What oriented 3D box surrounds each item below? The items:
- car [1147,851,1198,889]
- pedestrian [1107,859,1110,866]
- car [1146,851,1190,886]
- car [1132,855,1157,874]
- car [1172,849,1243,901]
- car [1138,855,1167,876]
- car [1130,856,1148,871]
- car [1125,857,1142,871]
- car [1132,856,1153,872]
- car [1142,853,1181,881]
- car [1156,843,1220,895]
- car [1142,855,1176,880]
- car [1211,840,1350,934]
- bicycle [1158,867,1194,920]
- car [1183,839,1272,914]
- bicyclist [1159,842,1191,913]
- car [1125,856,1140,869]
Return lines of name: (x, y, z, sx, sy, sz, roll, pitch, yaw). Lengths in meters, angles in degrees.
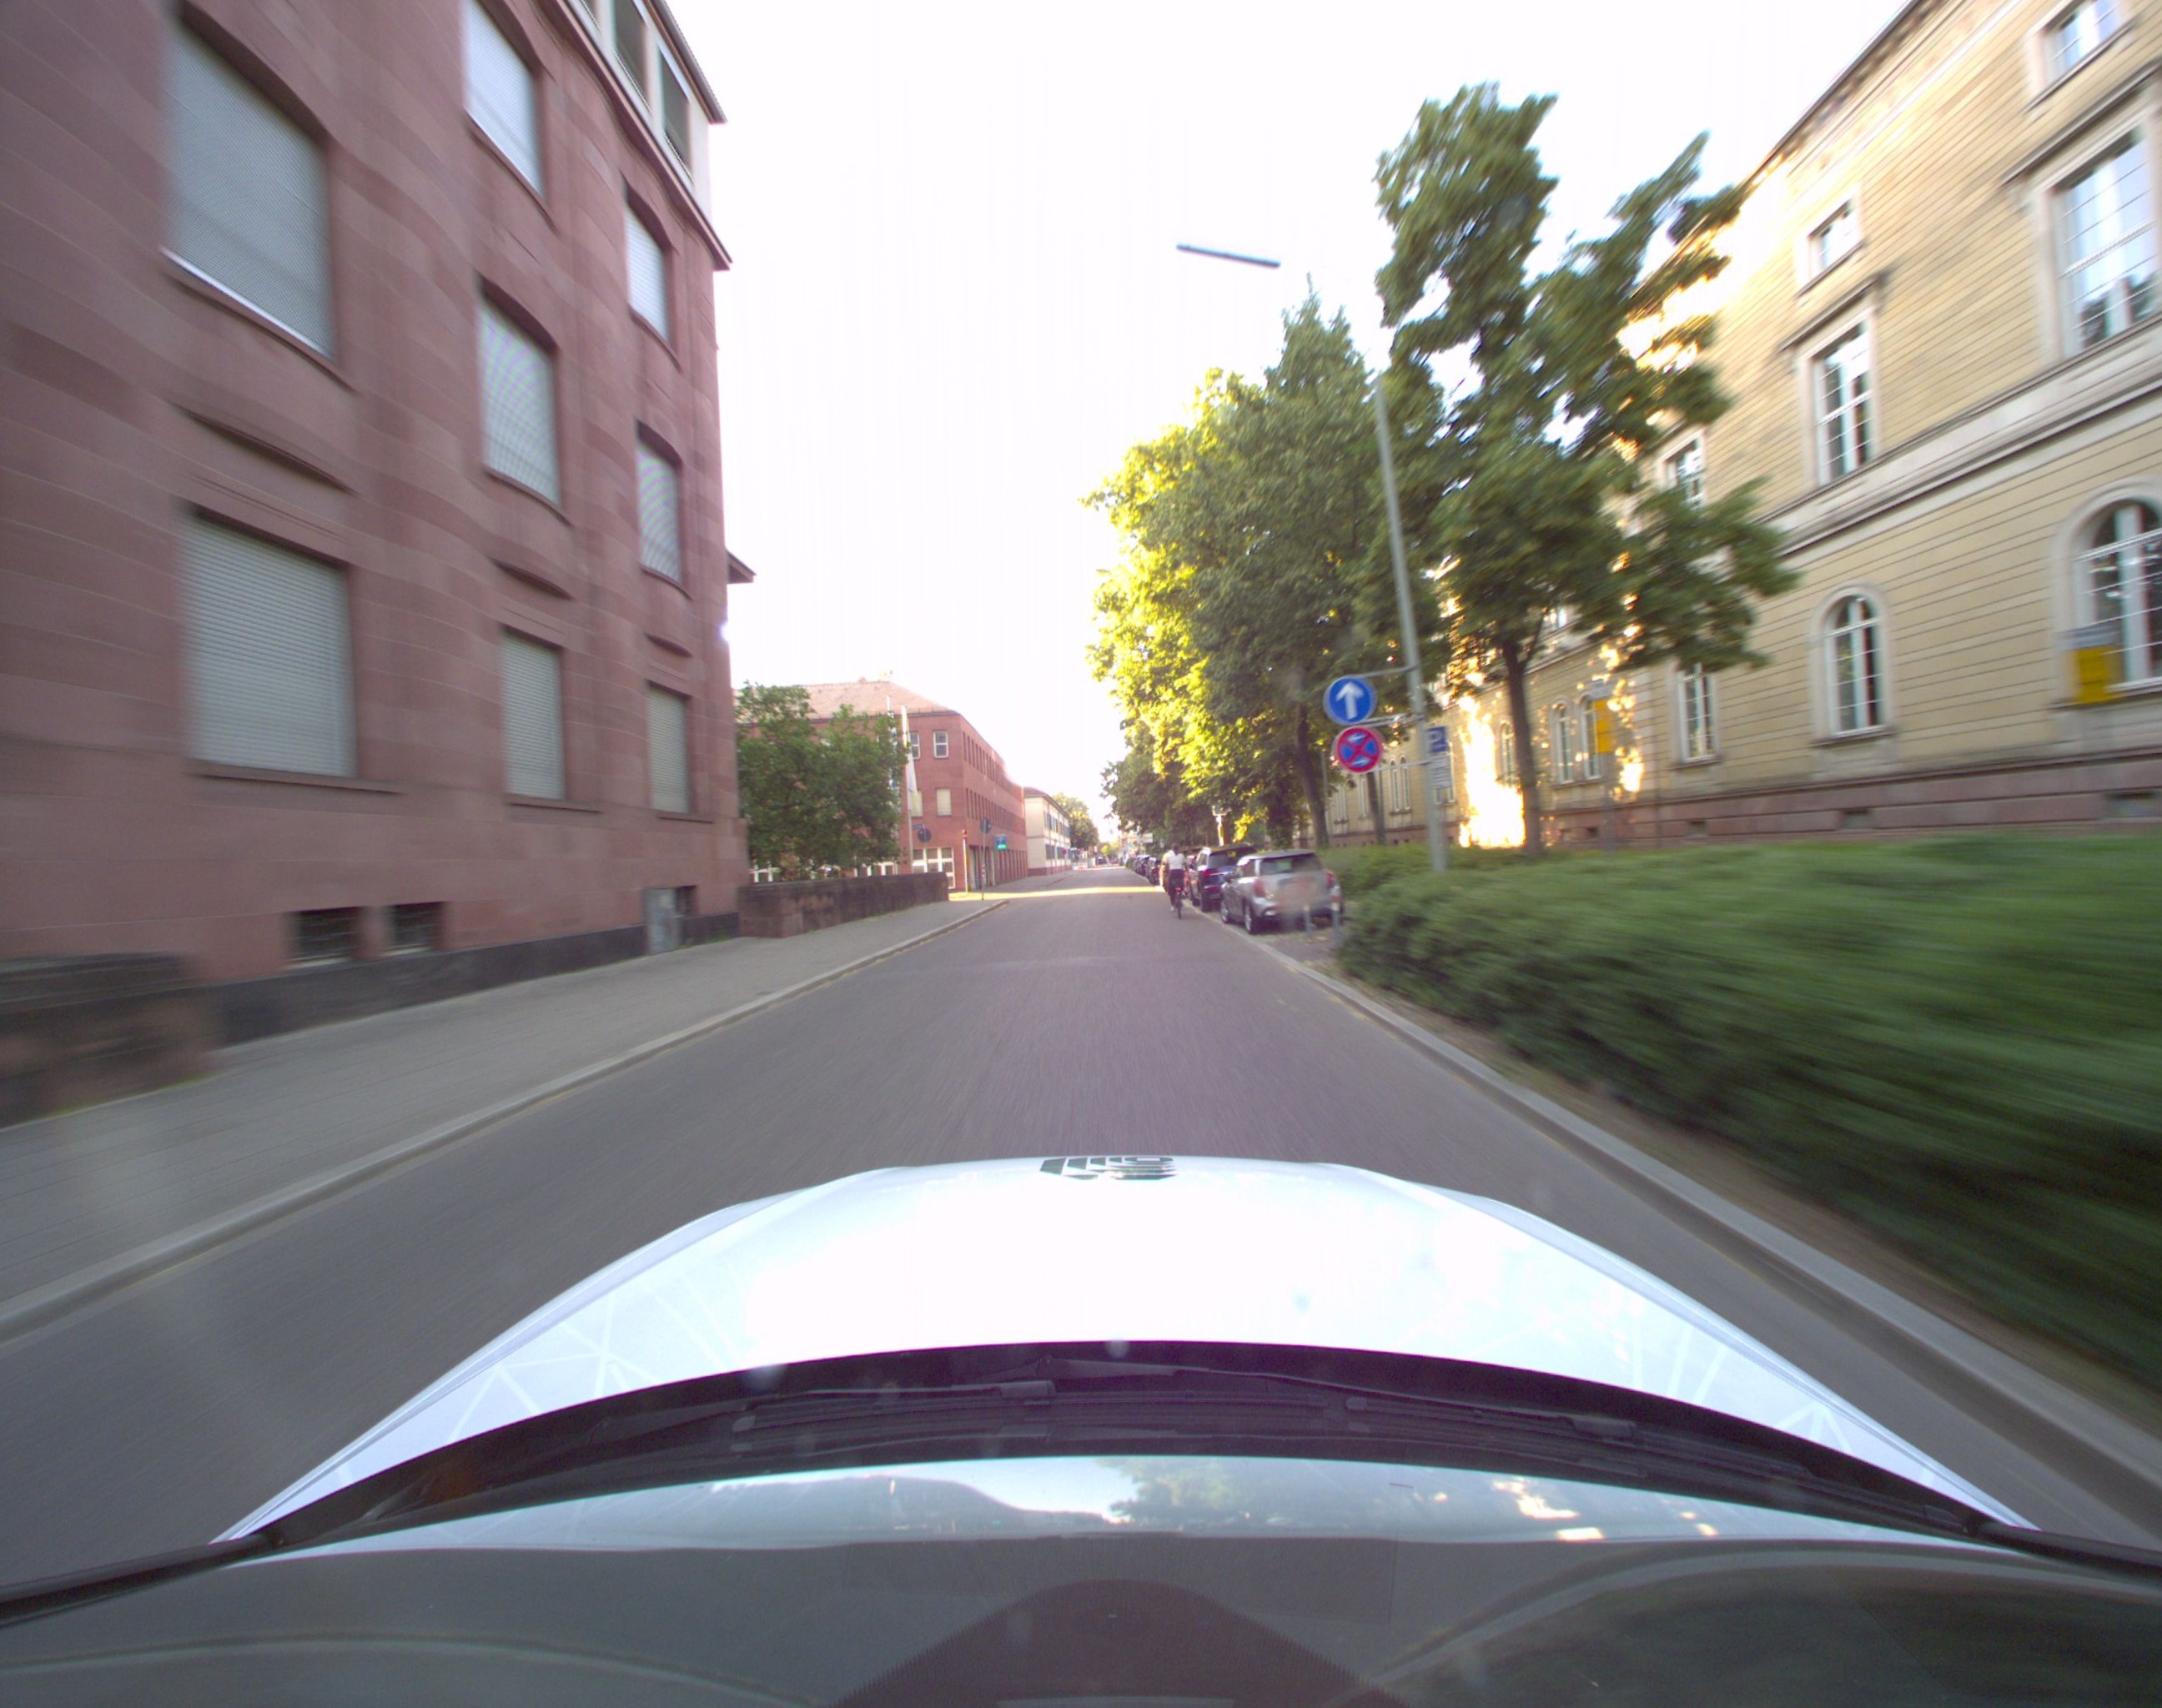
car: (4.313, 0.736, 38.964, 1.986, 1.596, 4.001, -4, 0, 1)
pedestrian: (6.251, 1.894, 183.625, 0.532, 1.472, 0.448, -4, -1, 0)
car: (4.773, 0.780, 45.379, 1.986, 1.706, 4.001, -4, 0, 1)
car: (6.028, 0.966, 77.688, 1.986, 1.629, 4.001, -4, 0, 1)
car: (4.202, 0.671, 27.588, 1.710, 1.537, 4.048, -4, 0, 0)
car: (5.845, 0.950, 67.199, 1.986, 1.585, 4.001, -4, 0, 1)
car: (7.294, 1.161, 103.499, 1.986, 1.749, 4.001, -4, 0, 1)
car: (8.071, 1.540, 125.625, 2.273, 1.854, 4.911, -4, 0, 1)
car: (6.979, 1.123, 92.715, 1.986, 1.629, 4.001, -4, 0, 1)
car: (4.985, 0.798, 50.883, 1.986, 1.530, 4.001, -4, 0, 1)
car: (4.227, 0.588, 32.691, 1.986, 1.816, 4.001, -4, 0, 1)
car: (5.418, 0.896, 56.754, 1.986, 1.530, 4.001, -4, 0, 1)
car: (3.711, 0.608, 15.788, 1.680, 1.447, 3.671, -6, -1, 0)
bicycle: (2.298, 0.923, 19.824, 0.636, 1.193, 1.876, -2, 0, 0)
car: (3.849, 0.550, 22.088, 1.709, 1.712, 4.476, -4, 0, 3)
bicyclist: (2.287, 0.559, 19.878, 0.637, 1.667, 0.842, -2, -1, 0)
car: (9.801, 1.552, 153.975, 2.484, 2.196, 4.911, -4, 0, 1)
